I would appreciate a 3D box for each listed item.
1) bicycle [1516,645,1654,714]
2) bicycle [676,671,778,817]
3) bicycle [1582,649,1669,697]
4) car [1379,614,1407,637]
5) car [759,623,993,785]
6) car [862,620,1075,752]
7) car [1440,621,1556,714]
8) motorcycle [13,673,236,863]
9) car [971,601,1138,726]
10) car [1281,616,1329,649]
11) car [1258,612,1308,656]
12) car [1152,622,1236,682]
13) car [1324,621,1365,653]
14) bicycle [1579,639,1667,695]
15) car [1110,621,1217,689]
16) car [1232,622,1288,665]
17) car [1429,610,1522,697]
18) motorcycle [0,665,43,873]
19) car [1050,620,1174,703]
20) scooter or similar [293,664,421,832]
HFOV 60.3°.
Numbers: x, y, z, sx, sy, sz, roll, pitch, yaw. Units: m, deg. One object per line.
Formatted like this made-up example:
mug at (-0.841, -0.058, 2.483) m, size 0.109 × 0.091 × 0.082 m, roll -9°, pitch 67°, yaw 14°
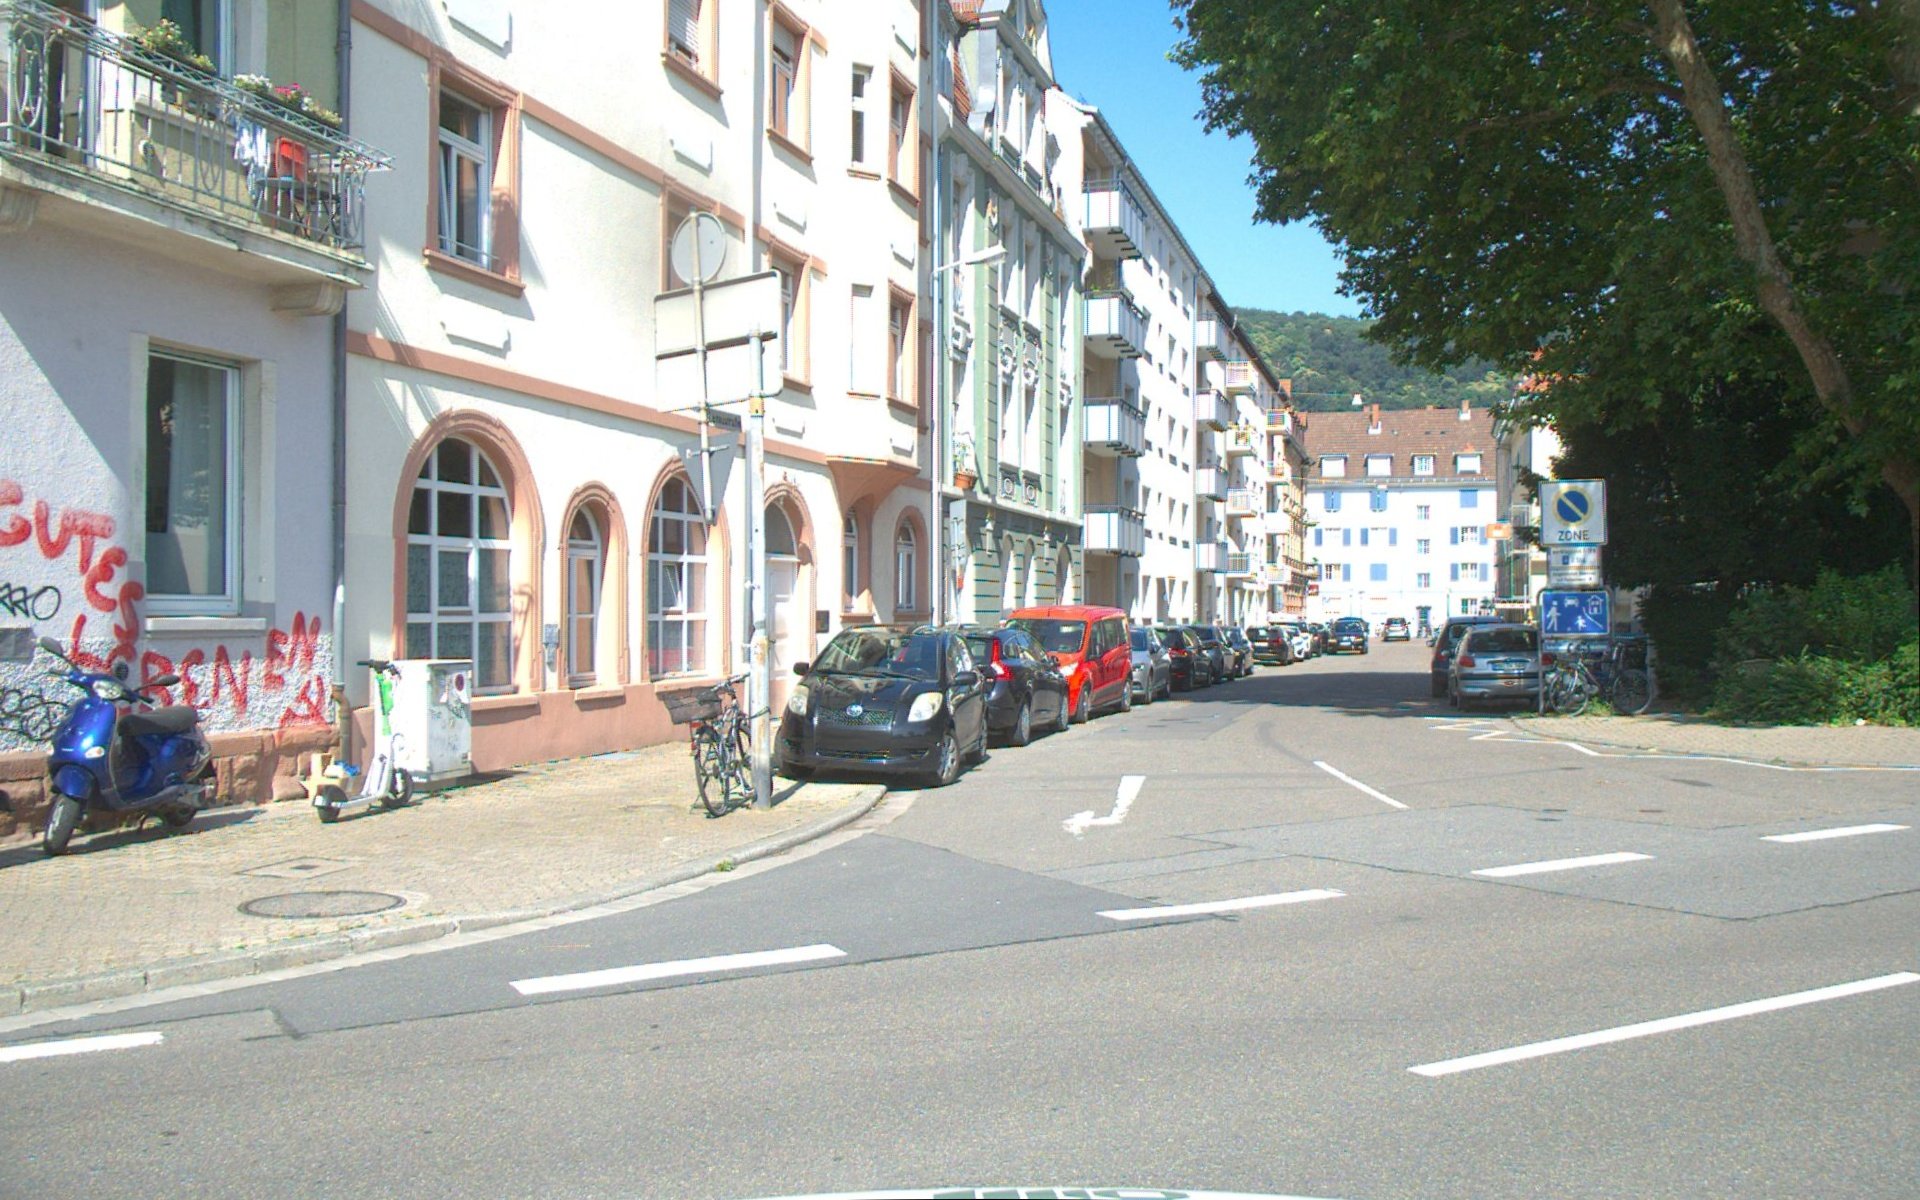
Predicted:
bicycle at (9.580, 1.205, 25.416) m, size 1.852 × 1.001 × 0.974 m, roll 0°, pitch -1°, yaw 12°
bicycle at (-1.888, 1.143, 13.629) m, size 0.612 × 1.052 × 1.882 m, roll 0°, pitch 0°, yaw -1°
bicycle at (12.644, 1.388, 31.453) m, size 1.470 × 0.848 × 0.384 m, roll 1°, pitch 1°, yaw 15°
car at (30.156, 1.762, 115.233) m, size 1.711 × 1.507 × 3.782 m, roll 0°, pitch -1°, yaw 17°
car at (-0.754, 0.992, 17.266) m, size 1.782 × 1.472 × 3.771 m, roll 0°, pitch -1°, yaw 8°
car at (0.225, 1.077, 22.186) m, size 1.939 × 1.570 × 4.066 m, roll -1°, pitch -1°, yaw 14°
car at (9.235, 1.101, 28.522) m, size 1.766 × 1.477 × 3.796 m, roll 0°, pitch -1°, yaw 17°
motorcycle at (-5.522, 1.075, 11.018) m, size 0.418 × 1.113 × 1.451 m, roll 1°, pitch 0°, yaw 16°
car at (1.642, 0.974, 27.205) m, size 1.827 × 1.873 × 4.228 m, roll 0°, pitch -1°, yaw 17°
car at (16.331, 1.532, 78.167) m, size 1.951 × 1.504 × 4.002 m, roll 0°, pitch -1°, yaw 16°
car at (13.413, 1.391, 68.567) m, size 1.823 × 1.752 × 3.865 m, roll 0°, pitch -1°, yaw 14°
car at (6.270, 1.345, 44.067) m, size 1.823 × 1.512 × 4.003 m, roll 0°, pitch -1°, yaw 14°
car at (19.057, 1.813, 81.935) m, size 1.711 × 1.486 × 3.782 m, roll 0°, pitch 0°, yaw 17°
bicycle at (12.991, 1.305, 32.427) m, size 1.537 × 1.010 × 0.457 m, roll 1°, pitch 1°, yaw 15°
car at (4.875, 1.253, 39.212) m, size 1.824 × 1.512 × 4.002 m, roll 0°, pitch -1°, yaw 18°
car at (11.228, 1.595, 61.821) m, size 1.823 × 1.512 × 3.865 m, roll 0°, pitch -1°, yaw 14°
car at (10.608, 1.054, 34.103) m, size 1.711 × 1.686 × 3.782 m, roll 0°, pitch -1°, yaw 17°
motorcycle at (-5.986, 0.991, 9.071) m, size 0.462 × 1.170 × 1.764 m, roll 1°, pitch 1°, yaw 23°
car at (3.083, 1.170, 32.787) m, size 1.823 × 1.512 × 4.003 m, roll 0°, pitch -1°, yaw 15°
scooter or similar at (-4.563, 1.091, 12.589) m, size 0.268 × 1.147 × 1.449 m, roll 1°, pitch 0°, yaw 7°
